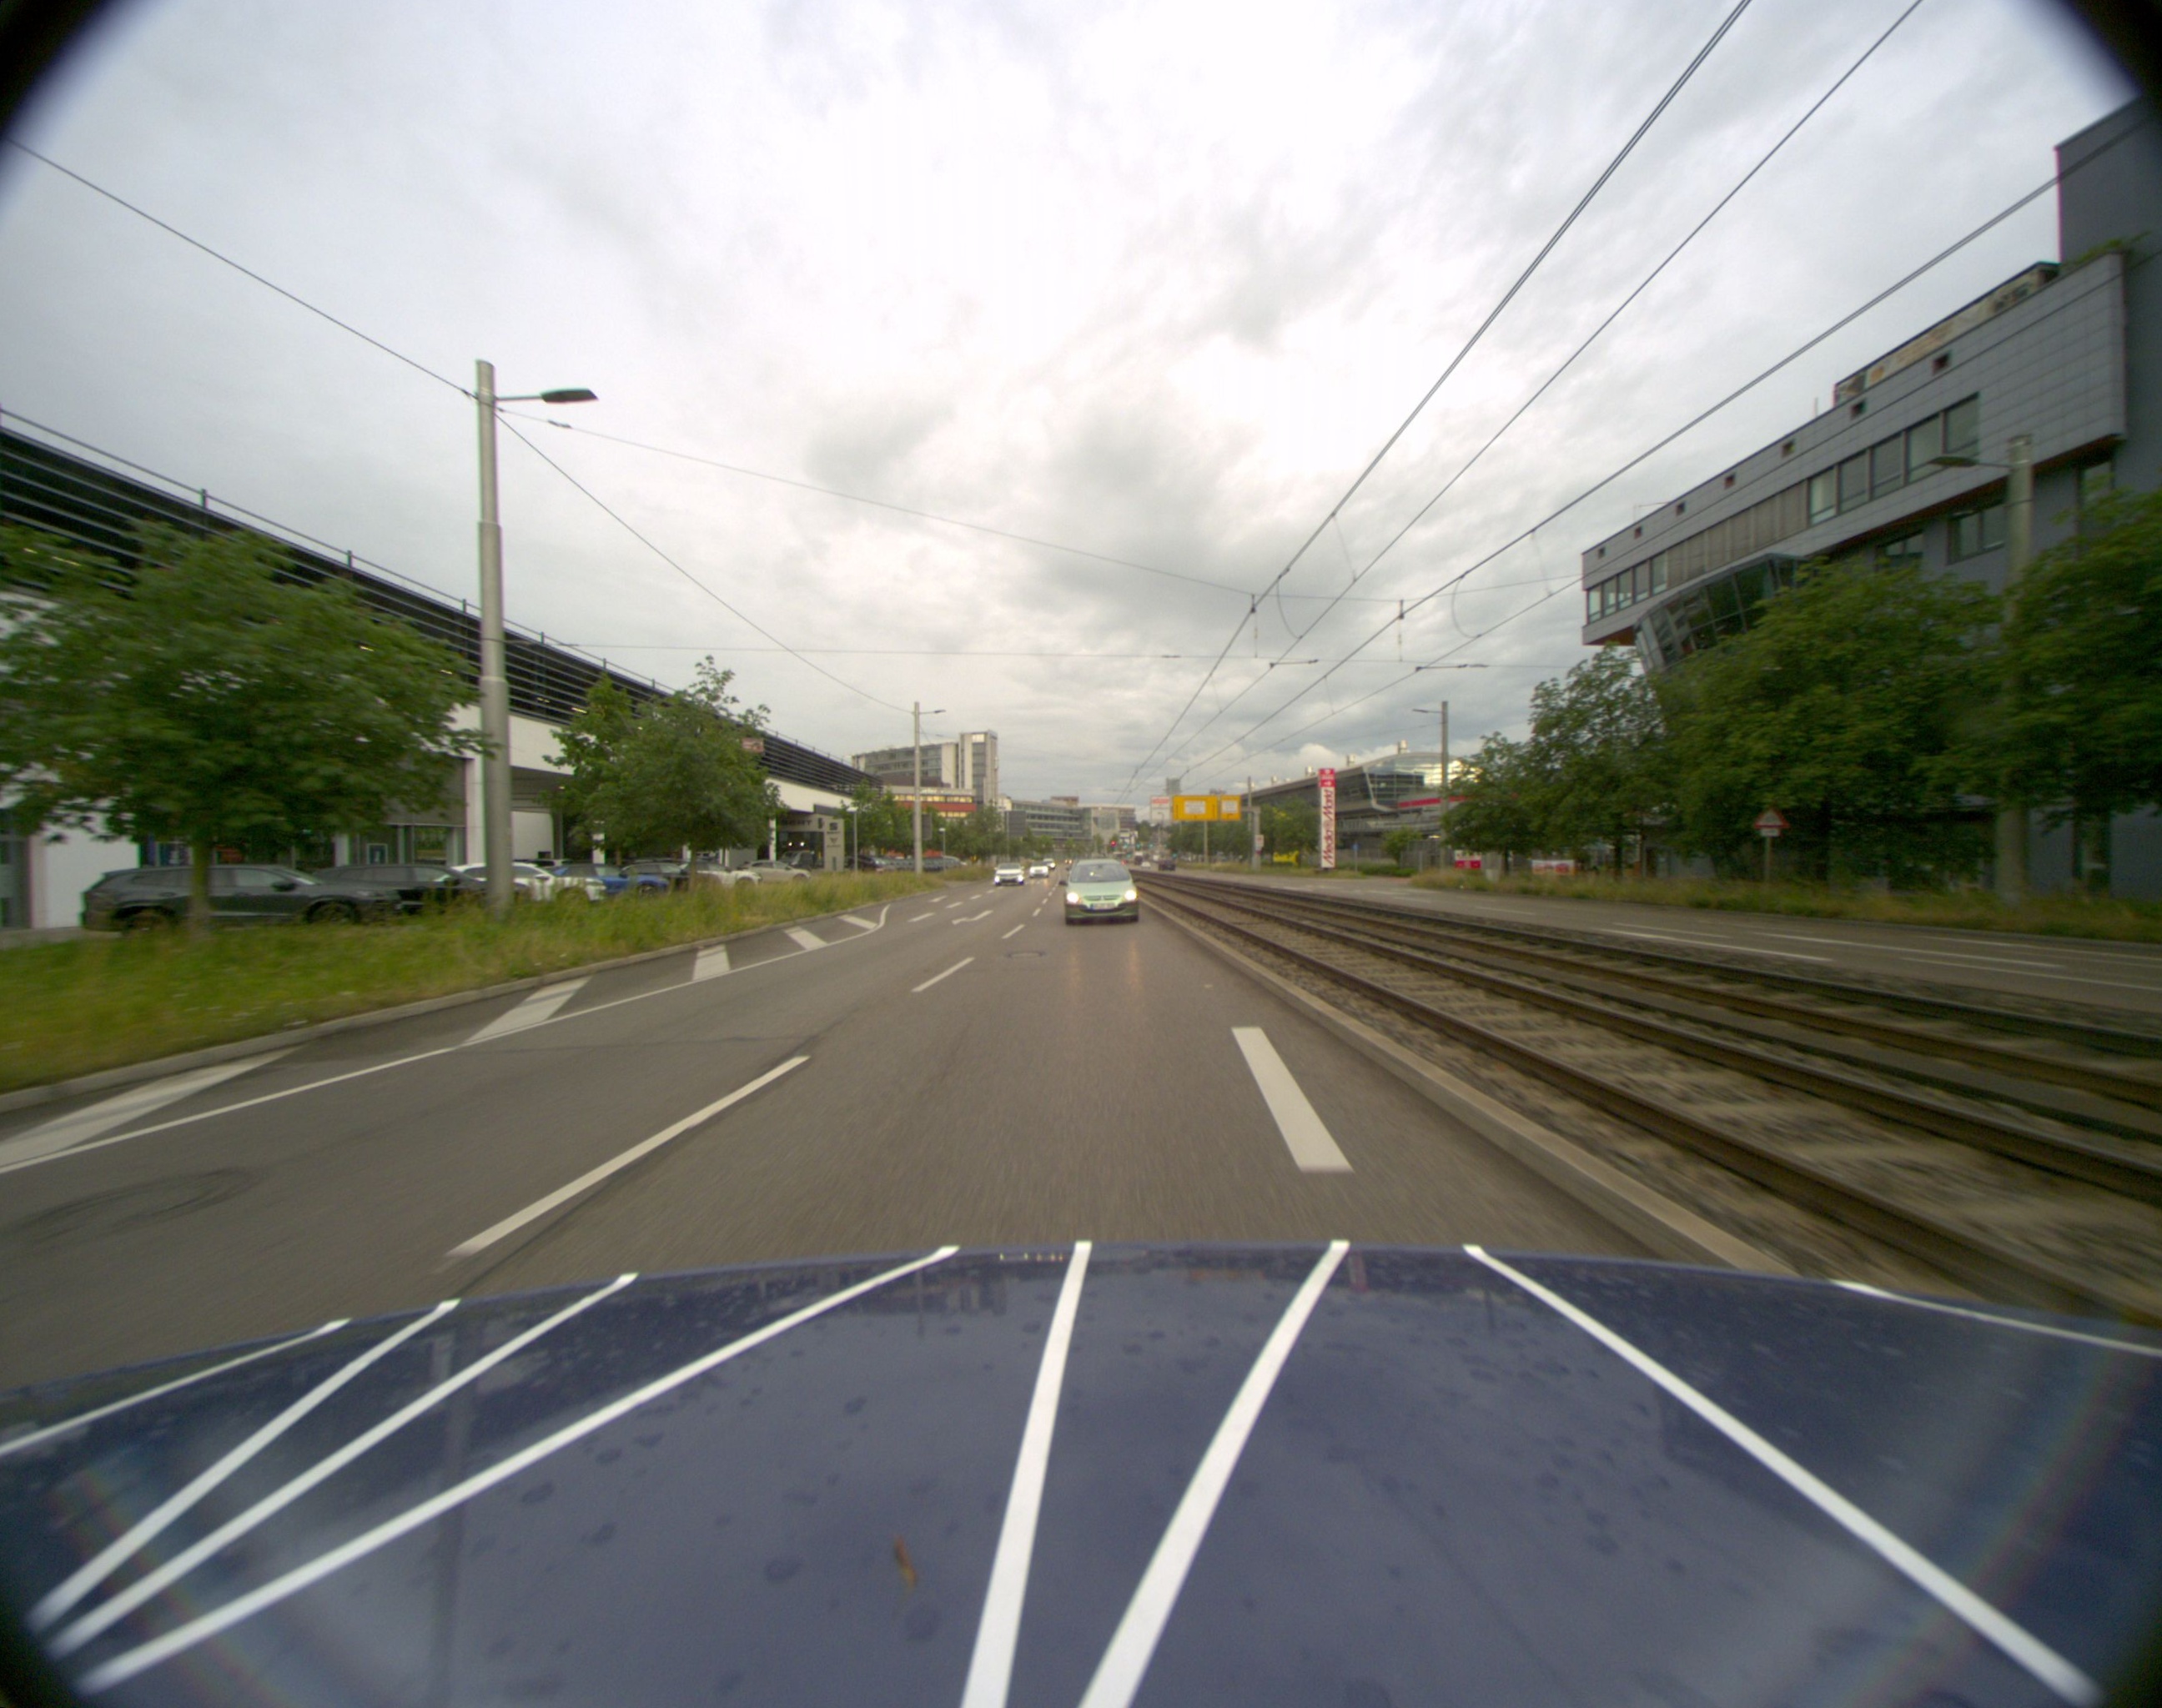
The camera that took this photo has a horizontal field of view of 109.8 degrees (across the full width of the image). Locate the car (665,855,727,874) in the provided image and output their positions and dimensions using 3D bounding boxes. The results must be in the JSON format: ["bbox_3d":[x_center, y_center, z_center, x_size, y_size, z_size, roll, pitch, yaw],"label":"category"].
[{"bbox_3d":[-30.667,0.831,60.578,3.998,1.528,1.904,0,0,-2],"label":"car"}]

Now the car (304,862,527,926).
[{"bbox_3d":[-18.058,1.041,20.928,4.383,1.559,1.794,1,1,-32],"label":"car"}]

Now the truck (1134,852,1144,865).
[{"bbox_3d":[17.564,1.305,229.636,2.734,3.339,7.150,1,2,2],"label":"truck"}]

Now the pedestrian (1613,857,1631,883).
[{"bbox_3d":[35.321,1.037,49.615,0.810,1.669,0.580,0,0,-12],"label":"pedestrian"}]

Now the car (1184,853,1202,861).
[{"bbox_3d":[33.407,0.815,226.467,5.068,2.318,1.997,0,0,-18],"label":"car"}]

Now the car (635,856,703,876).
[{"bbox_3d":[-30.227,0.851,55.800,3.998,1.416,1.764,0,0,-2],"label":"car"}]

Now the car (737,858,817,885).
[{"bbox_3d":[-17.906,1.006,44.846,4.108,1.457,1.743,1,1,-34],"label":"car"}]

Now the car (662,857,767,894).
[{"bbox_3d":[-17.087,0.969,35.489,4.108,1.559,1.794,1,1,-38],"label":"car"}]

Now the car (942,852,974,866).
[{"bbox_3d":[-18.519,0.775,114.695,4.504,1.980,1.818,1,0,-19],"label":"car"}]

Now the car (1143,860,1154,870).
[{"bbox_3d":[12.255,1.938,138.308,1.602,1.529,2.949,2,3,0],"label":"car"}]

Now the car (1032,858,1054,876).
[{"bbox_3d":[-3.465,1.192,69.488,1.819,1.584,3.836,0,0,-1],"label":"car"}]

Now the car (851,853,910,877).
[{"bbox_3d":[-17.159,0.931,64.902,4.709,1.865,1.828,1,0,22],"label":"car"}]

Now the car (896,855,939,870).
[{"bbox_3d":[-17.309,0.896,80.270,4.157,1.560,1.906,1,0,-21],"label":"car"}]

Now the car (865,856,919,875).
[{"bbox_3d":[-17.133,1.025,68.830,4.343,1.603,1.865,1,0,-30],"label":"car"}]

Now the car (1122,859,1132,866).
[{"bbox_3d":[9.477,1.802,157.736,1.807,1.420,4.236,1,0,-1],"label":"car"}]

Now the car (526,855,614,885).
[{"bbox_3d":[-30.390,0.934,45.282,3.997,1.499,1.786,-3,0,1],"label":"car"}]

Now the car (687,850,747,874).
[{"bbox_3d":[-30.232,0.656,63.135,4.037,1.964,1.944,0,0,-2],"label":"car"}]

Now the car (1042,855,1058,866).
[{"bbox_3d":[-4.595,1.023,113.107,1.889,1.584,3.983,-1,0,4],"label":"car"}]

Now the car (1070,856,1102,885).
[{"bbox_3d":[0.306,0.920,44.855,1.762,1.535,3.714,-3,0,0],"label":"car"}]

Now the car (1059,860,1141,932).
[{"bbox_3d":[0.374,0.954,18.972,1.762,1.489,4.137,-2,0,-1],"label":"car"}]

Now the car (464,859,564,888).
[{"bbox_3d":[-29.945,1.002,40.217,3.829,1.443,1.732,0,0,-10],"label":"car"}]

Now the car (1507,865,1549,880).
[{"bbox_3d":[43.864,1.792,74.559,4.114,1.275,1.660,-3,0,-30],"label":"car"}]

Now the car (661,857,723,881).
[{"bbox_3d":[-26.308,0.965,51.519,1.899,1.459,4.695,1,0,-2],"label":"car"}]

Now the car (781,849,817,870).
[{"bbox_3d":[-26.351,0.509,71.177,1.892,1.927,4.429,0,0,-2],"label":"car"}]

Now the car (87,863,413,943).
[{"bbox_3d":[-18.408,1.027,17.217,4.634,1.559,1.847,1,1,-31],"label":"car"}]

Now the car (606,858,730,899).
[{"bbox_3d":[-17.048,0.968,31.450,4.199,1.559,1.794,1,1,-42],"label":"car"}]

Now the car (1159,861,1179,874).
[{"bbox_3d":[11.602,1.811,100.264,1.999,1.725,4.213,1,-2,-1],"label":"car"}]

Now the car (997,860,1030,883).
[{"bbox_3d":[-4.470,1.148,50.877,1.878,1.485,3.836,-1,0,0],"label":"car"}]

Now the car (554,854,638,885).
[{"bbox_3d":[-30.273,0.959,47.519,3.997,1.718,1.891,-3,0,1],"label":"car"}]

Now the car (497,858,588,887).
[{"bbox_3d":[-30.020,1.024,42.415,3.826,1.578,1.638,0,0,-2],"label":"car"}]

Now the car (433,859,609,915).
[{"bbox_3d":[-17.656,1.008,24.244,4.362,1.617,1.852,1,1,-31],"label":"car"}]

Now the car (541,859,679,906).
[{"bbox_3d":[-17.208,0.983,27.819,4.198,1.559,1.794,1,1,-36],"label":"car"}]

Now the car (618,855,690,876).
[{"bbox_3d":[-30.010,0.797,53.463,3.998,1.416,1.764,0,0,-2],"label":"car"}]

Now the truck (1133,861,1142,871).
[{"bbox_3d":[14.622,3.051,196.230,2.243,2.549,7.016,0,0,4],"label":"truck"}]
